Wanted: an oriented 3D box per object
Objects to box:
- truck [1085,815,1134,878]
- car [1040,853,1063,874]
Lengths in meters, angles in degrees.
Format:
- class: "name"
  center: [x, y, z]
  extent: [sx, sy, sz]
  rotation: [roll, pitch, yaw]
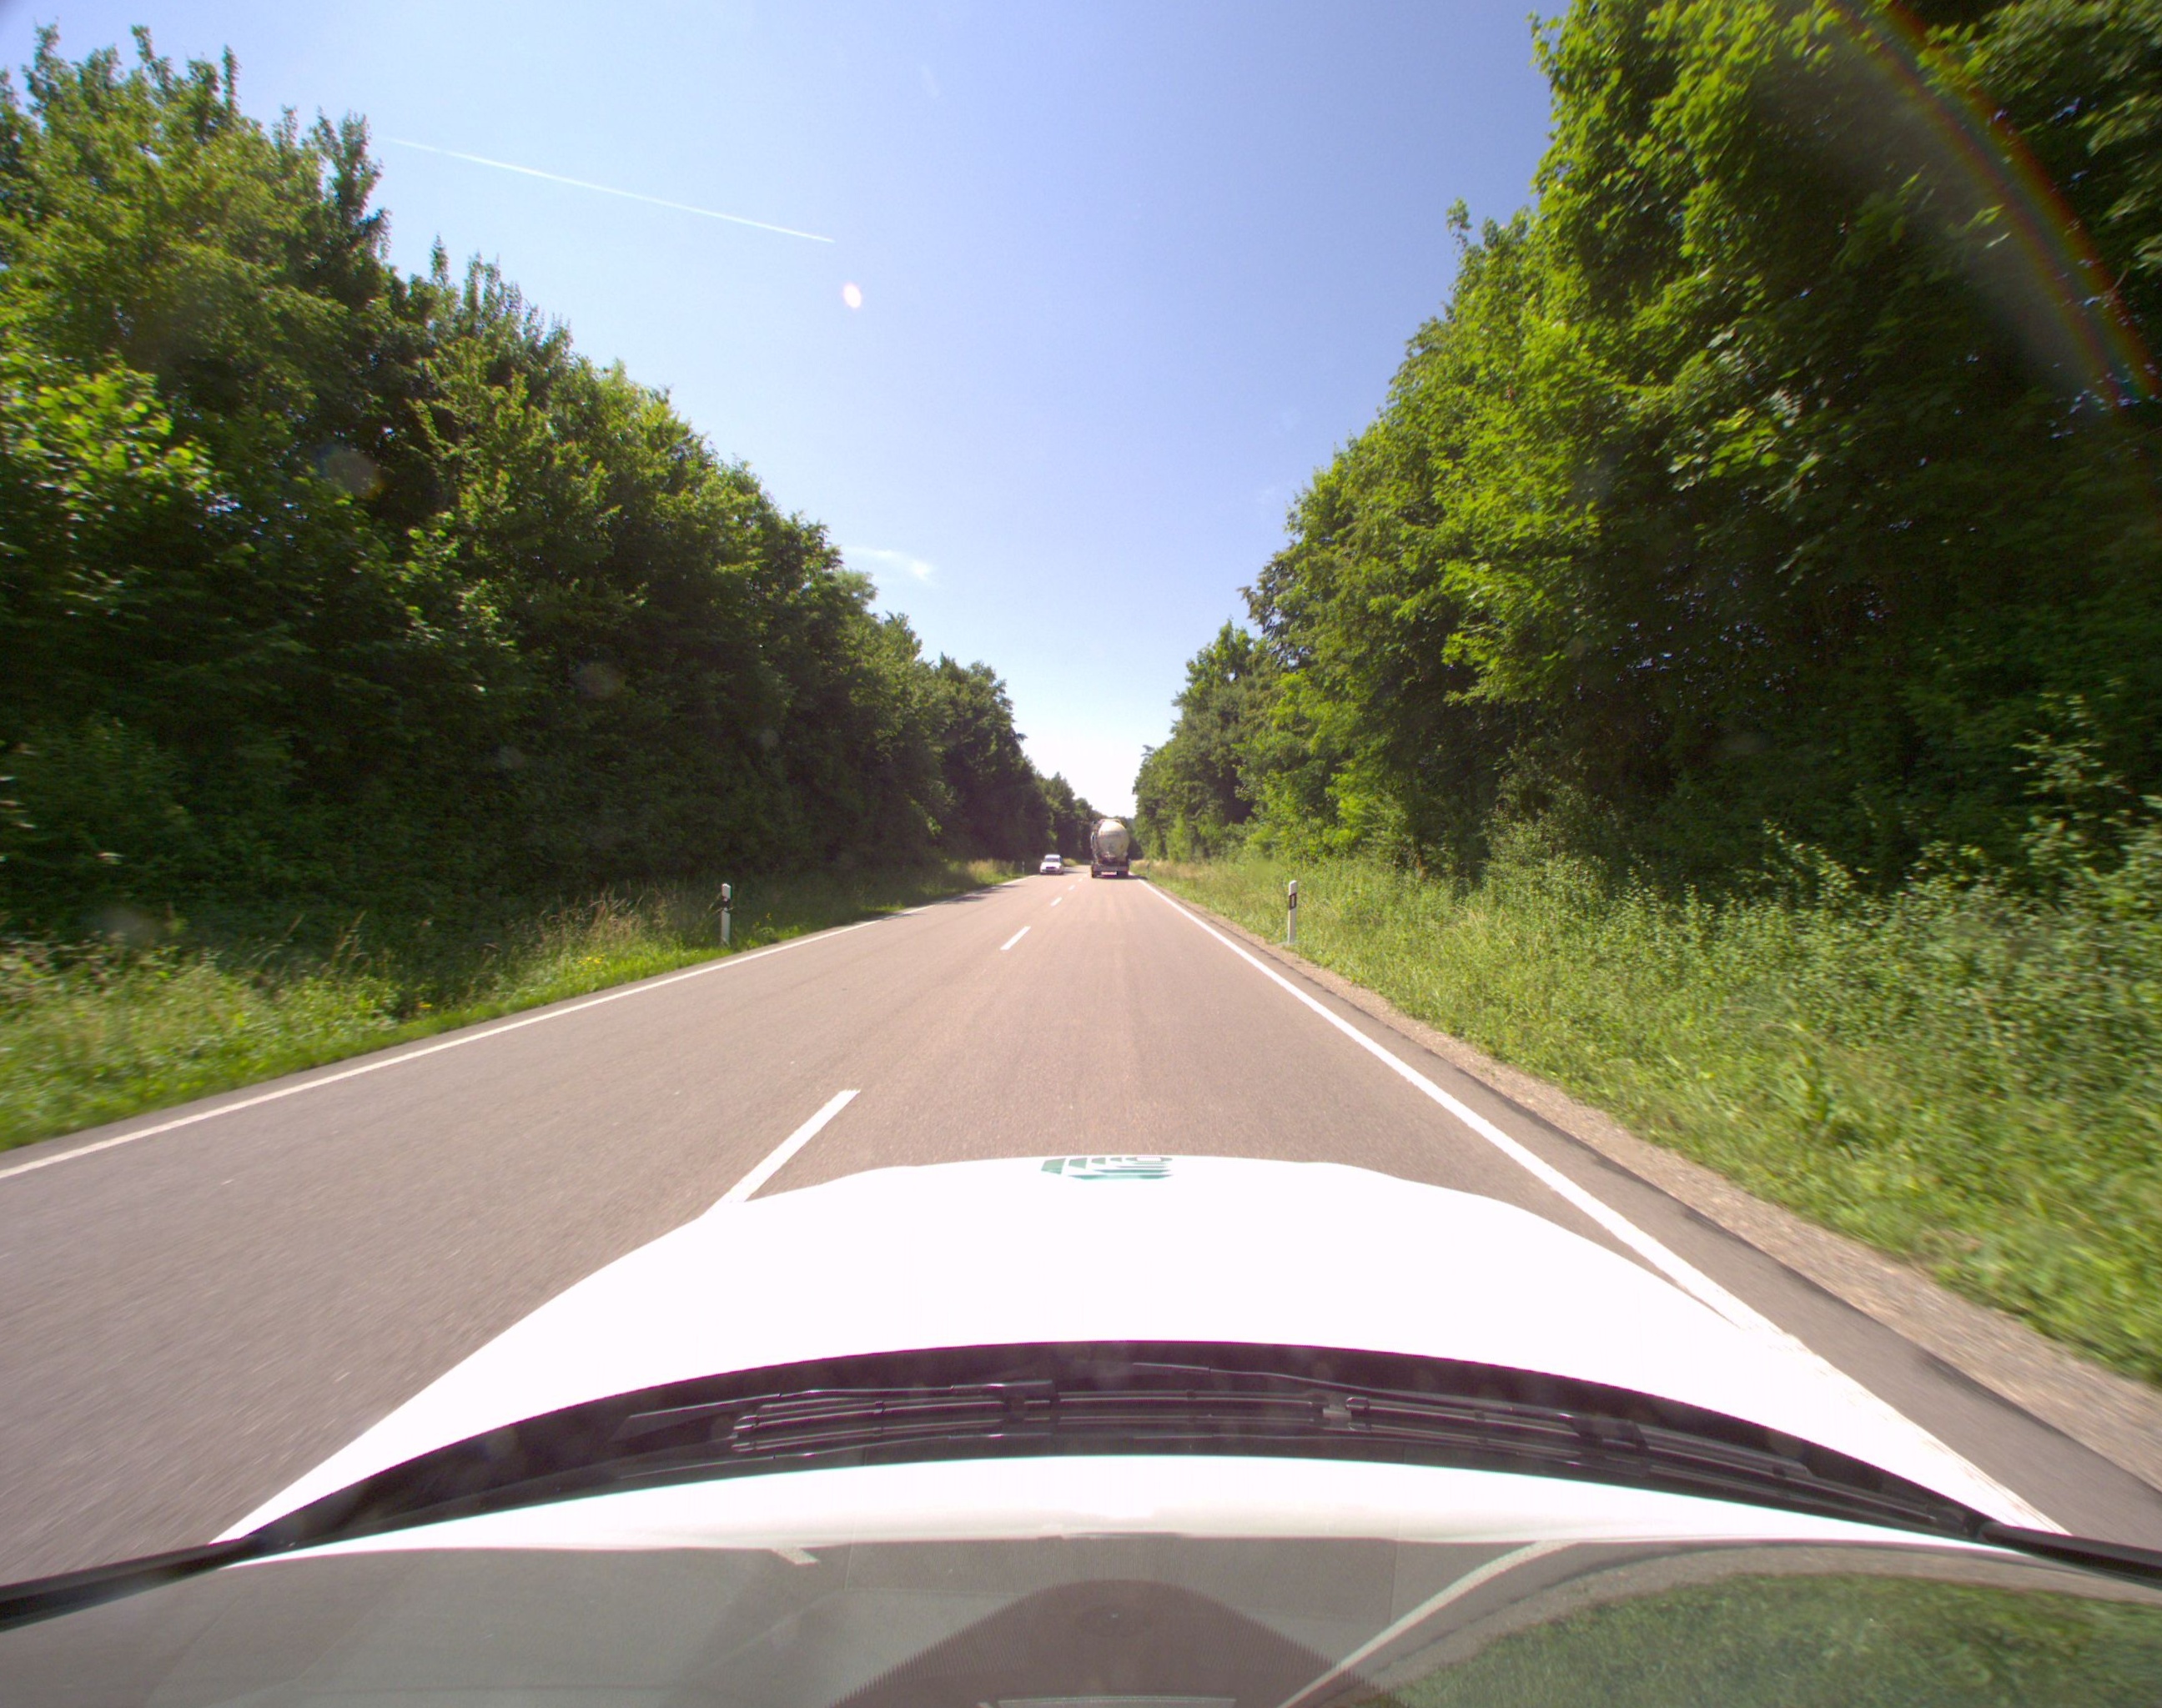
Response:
- class: "truck"
  center: [1.947, -0.412, 60.337]
  extent: [3.039, 3.998, 15.637]
  rotation: [2, 0, 1]
- class: "car"
  center: [-2.340, 0.729, 65.149]
  extent: [1.506, 1.592, 3.795]
  rotation: [-1, 0, 2]
